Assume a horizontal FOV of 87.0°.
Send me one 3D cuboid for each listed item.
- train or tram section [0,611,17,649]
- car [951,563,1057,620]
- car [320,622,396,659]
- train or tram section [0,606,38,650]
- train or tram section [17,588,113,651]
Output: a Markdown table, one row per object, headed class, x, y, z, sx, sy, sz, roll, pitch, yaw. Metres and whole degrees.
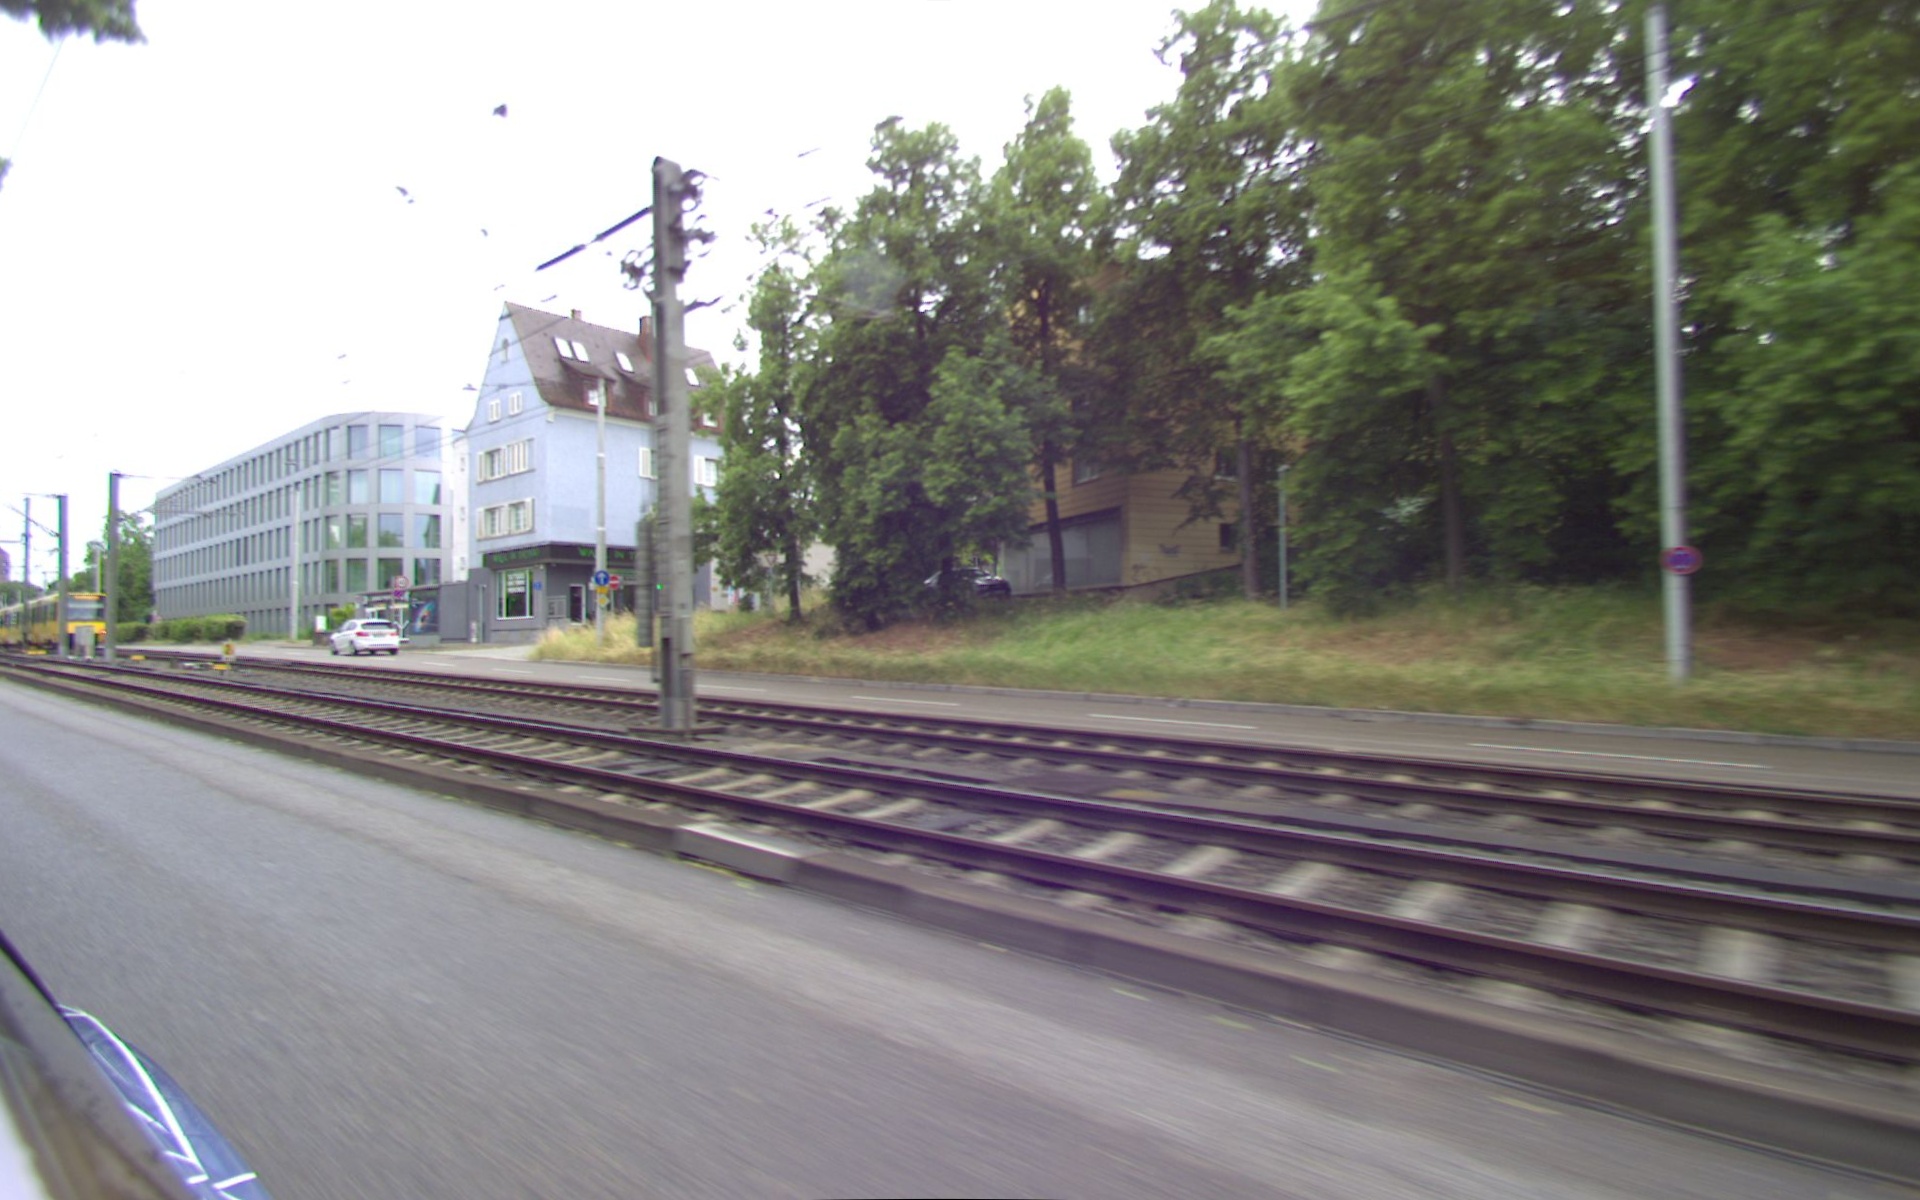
| class | x | y | z | sx | sy | sz | roll | pitch | yaw |
| --- | --- | --- | --- | --- | --- | --- | --- | --- | --- |
| train or tram section | -103.116 | 3.281 | 107.499 | 18.611 | 3.840 | 2.935 | -2 | -2 | 43 |
| car | 1.600 | -0.268 | 38.424 | 1.934 | 2.029 | 4.228 | 0 | -2 | -33 |
| car | -26.513 | 1.777 | 44.546 | 4.379 | 1.541 | 1.635 | -2 | -2 | 42 |
| train or tram section | -89.475 | 2.737 | 94.875 | 18.611 | 3.840 | 2.935 | -2 | -2 | 43 |
| train or tram section | -61.437 | 1.480 | 69.154 | 19.517 | 3.840 | 2.935 | -2 | -2 | 43 |
